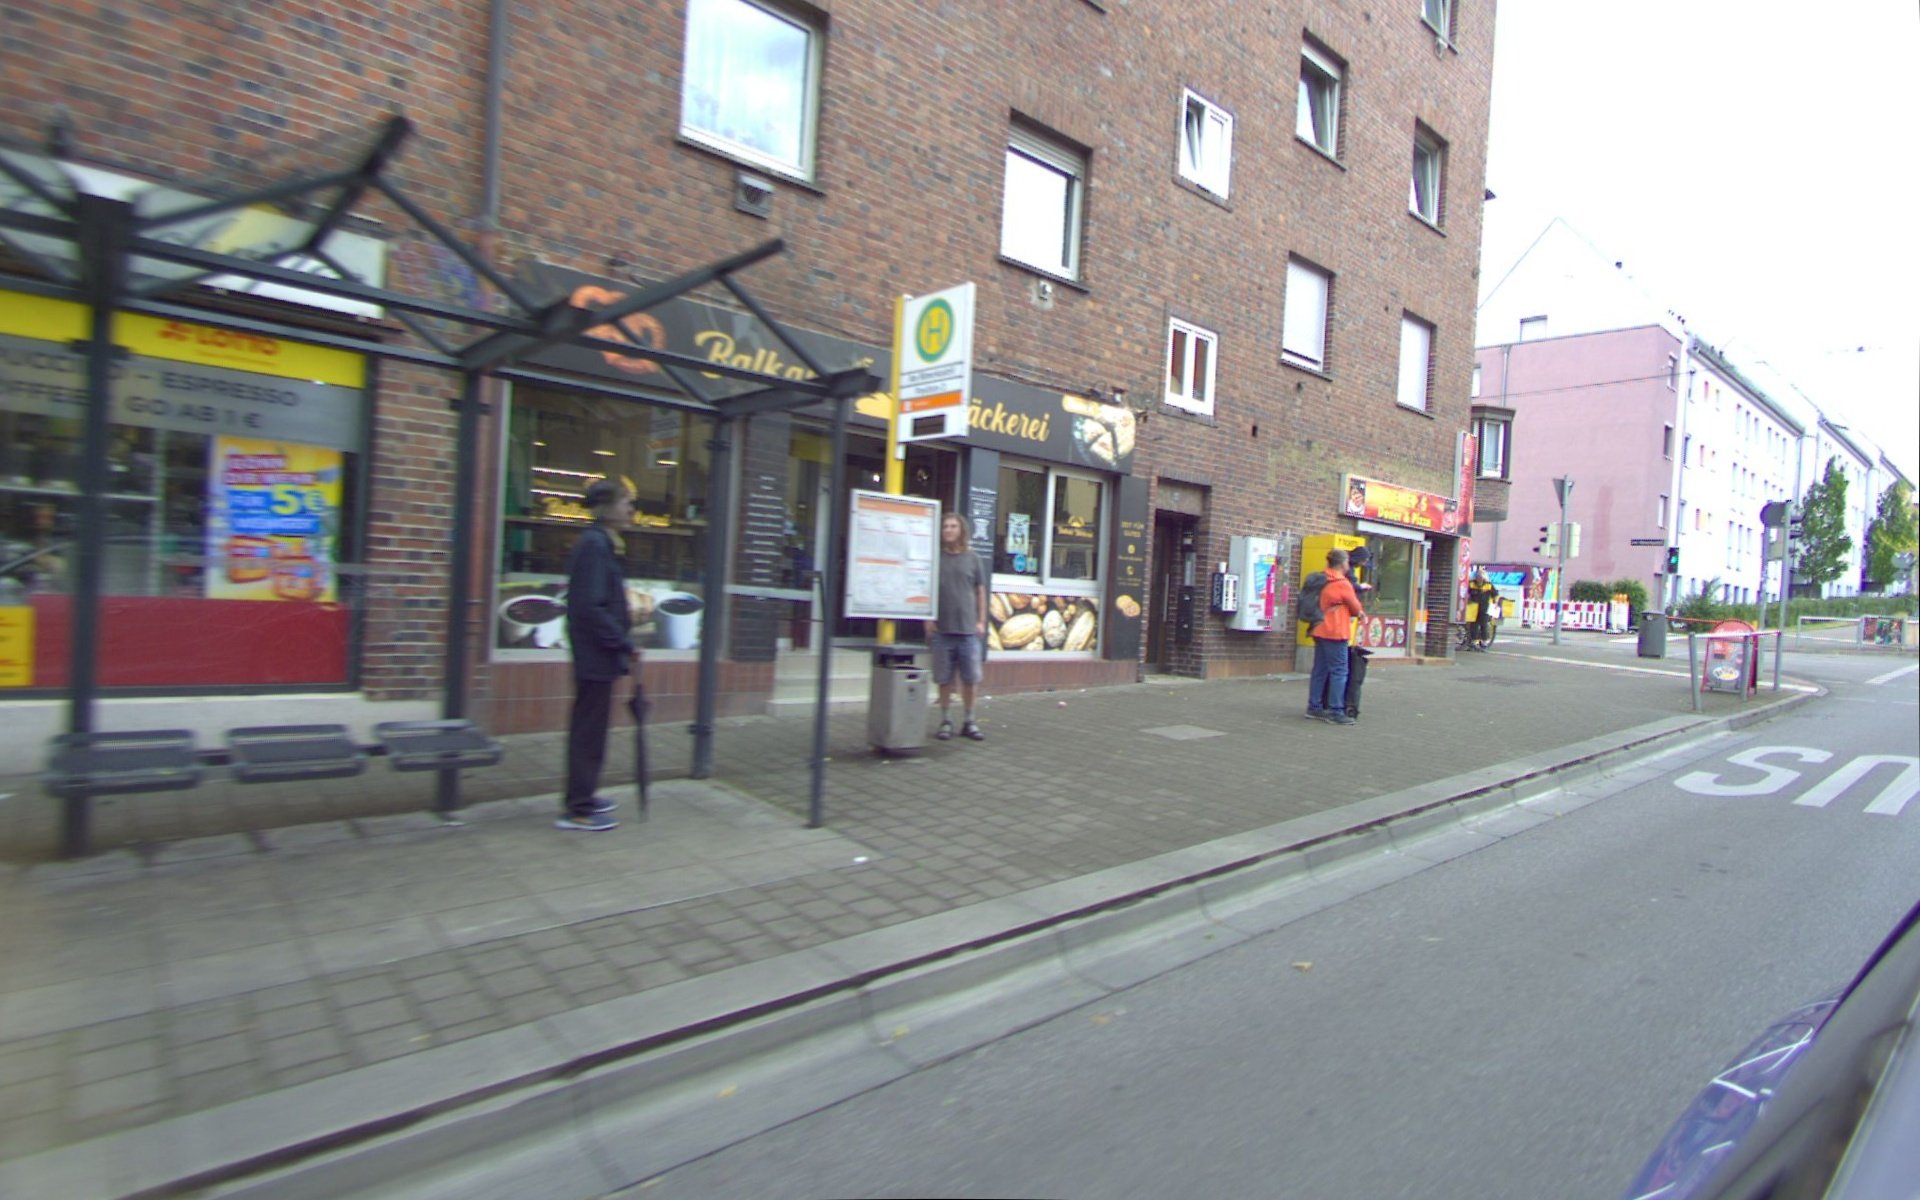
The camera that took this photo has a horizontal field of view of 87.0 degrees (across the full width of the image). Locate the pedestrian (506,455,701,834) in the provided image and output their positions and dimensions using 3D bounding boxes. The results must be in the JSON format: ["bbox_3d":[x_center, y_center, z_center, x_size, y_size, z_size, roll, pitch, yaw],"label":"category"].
[{"bbox_3d":[-1.823,0.197,5.161,0.749,1.749,0.672,1,1,-36],"label":"pedestrian"}]

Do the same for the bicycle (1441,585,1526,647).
[{"bbox_3d":[11.025,0.324,21.277,2.350,1.208,0.761,0,2,-41],"label":"bicycle"}]

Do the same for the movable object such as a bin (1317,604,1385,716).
[{"bbox_3d":[3.894,0.590,10.096,0.402,1.069,0.455,1,1,-21],"label":"movable object such as a bin"}]

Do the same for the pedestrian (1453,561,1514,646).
[{"bbox_3d":[10.850,0.070,20.990,0.759,1.676,0.790,1,4,-41],"label":"pedestrian"}]

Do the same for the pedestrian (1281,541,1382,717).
[{"bbox_3d":[3.634,0.269,9.925,0.666,1.657,0.568,1,1,-21],"label":"pedestrian"}]

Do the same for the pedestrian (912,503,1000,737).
[{"bbox_3d":[-0.035,0.142,8.039,0.450,1.786,0.480,0,2,-41],"label":"pedestrian"}]

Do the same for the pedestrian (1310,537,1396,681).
[{"bbox_3d":[5.008,0.104,12.907,0.763,1.771,0.649,1,1,-36],"label":"pedestrian"}]
